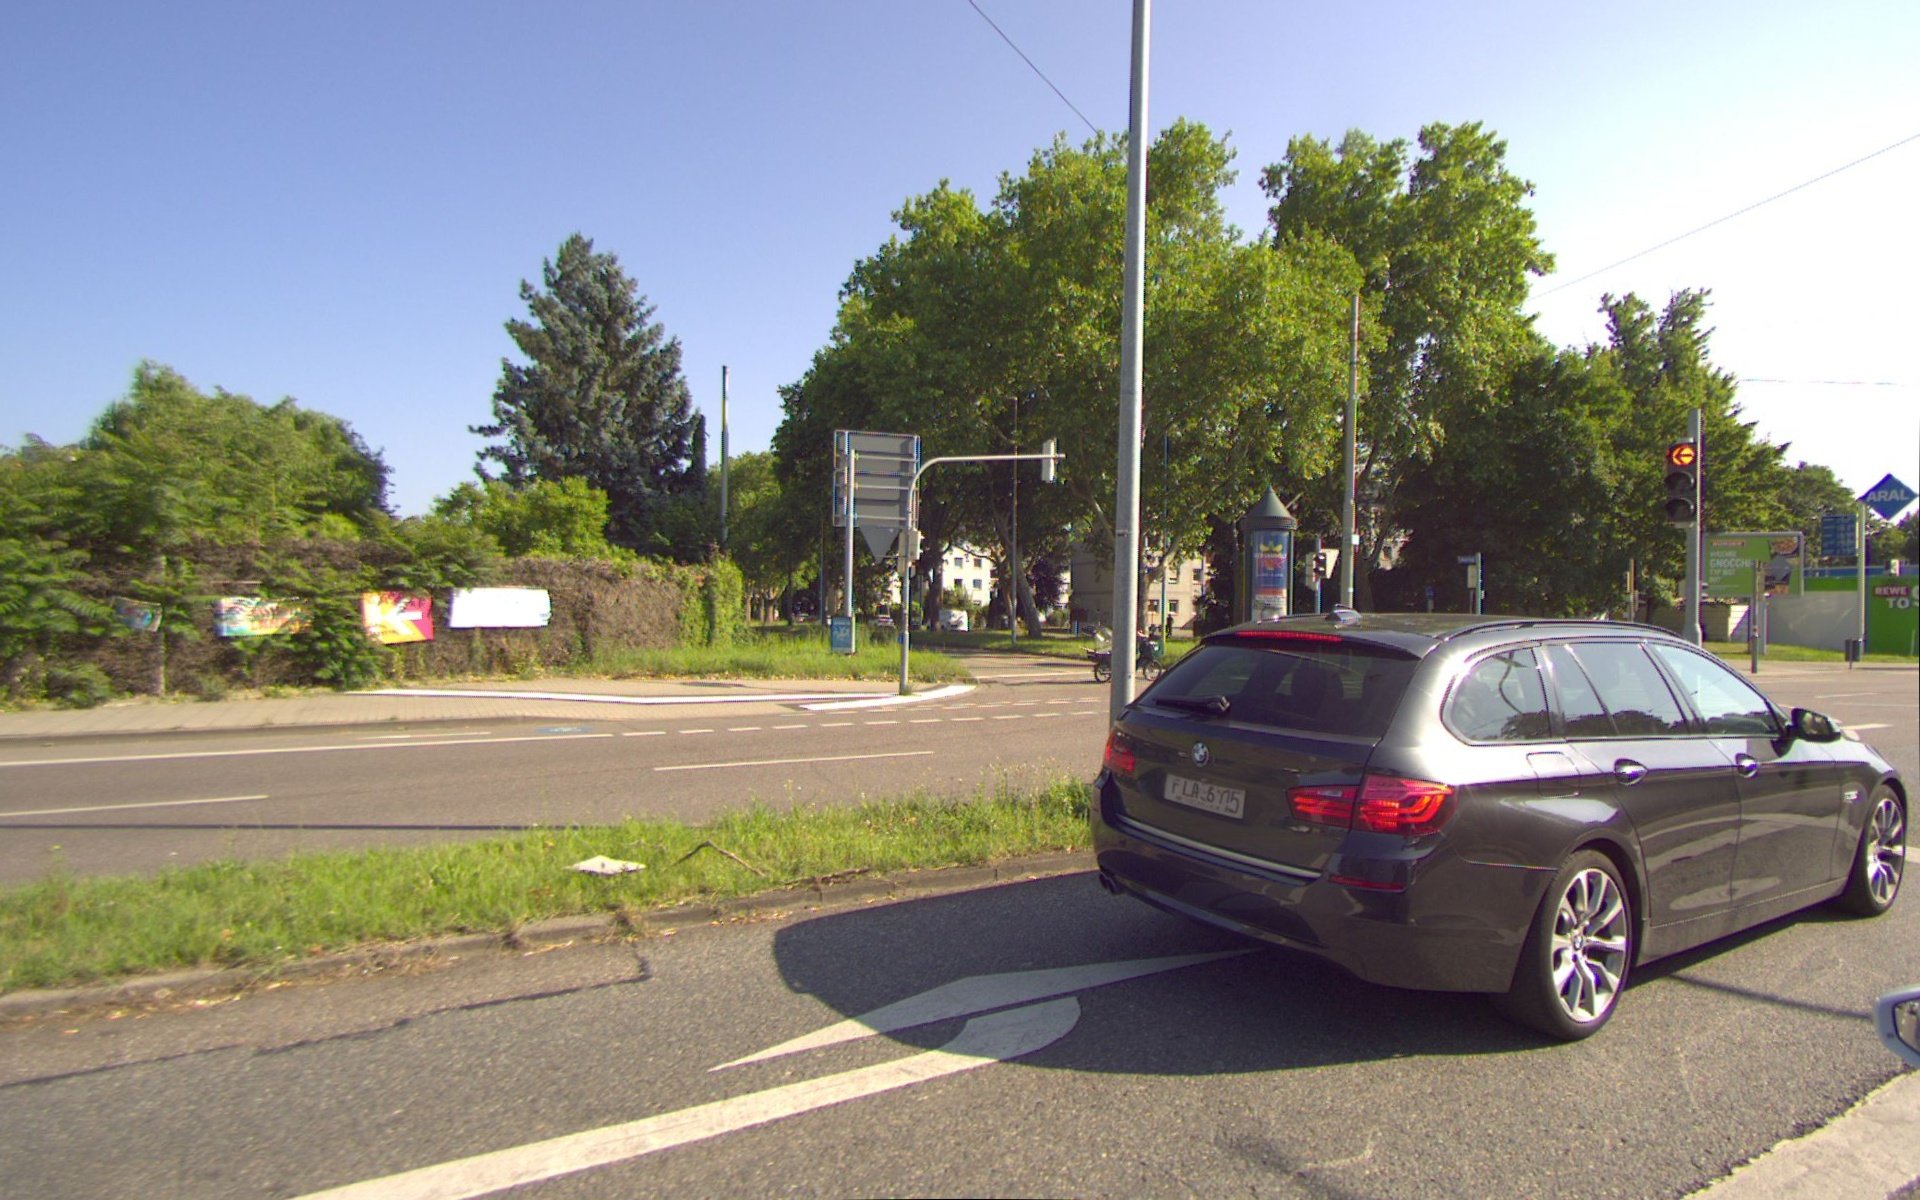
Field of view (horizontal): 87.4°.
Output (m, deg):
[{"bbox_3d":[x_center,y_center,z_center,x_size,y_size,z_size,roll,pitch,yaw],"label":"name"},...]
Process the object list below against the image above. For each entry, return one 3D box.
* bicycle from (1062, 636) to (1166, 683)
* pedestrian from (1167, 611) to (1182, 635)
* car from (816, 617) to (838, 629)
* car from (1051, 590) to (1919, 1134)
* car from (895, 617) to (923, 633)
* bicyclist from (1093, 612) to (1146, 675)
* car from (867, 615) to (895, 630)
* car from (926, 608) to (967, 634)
[{"bbox_3d":[3.691,1.415,24.005,2.546,1.063,0.659,1,-1,-27],"label":"bicycle"},{"bbox_3d":[15.648,1.681,73.359,0.863,1.793,0.685,1,-1,-16],"label":"pedestrian"},{"bbox_3d":[-16.309,2.823,122.922,1.798,1.425,3.520,1,-1,-23],"label":"car"},{"bbox_3d":[2.790,0.773,4.847,4.596,1.505,1.749,1,1,-34],"label":"car"},{"bbox_3d":[-5.315,2.580,103.709,1.798,1.544,3.520,1,-1,-23],"label":"car"},{"bbox_3d":[3.819,1.030,24.064,1.037,1.472,0.659,1,-1,-26],"label":"bicyclist"},{"bbox_3d":[-7.962,2.269,101.213,1.798,1.425,3.520,1,-1,-23],"label":"car"},{"bbox_3d":[-1.144,1.702,82.233,1.798,1.989,4.379,1,-1,-22],"label":"car"}]
